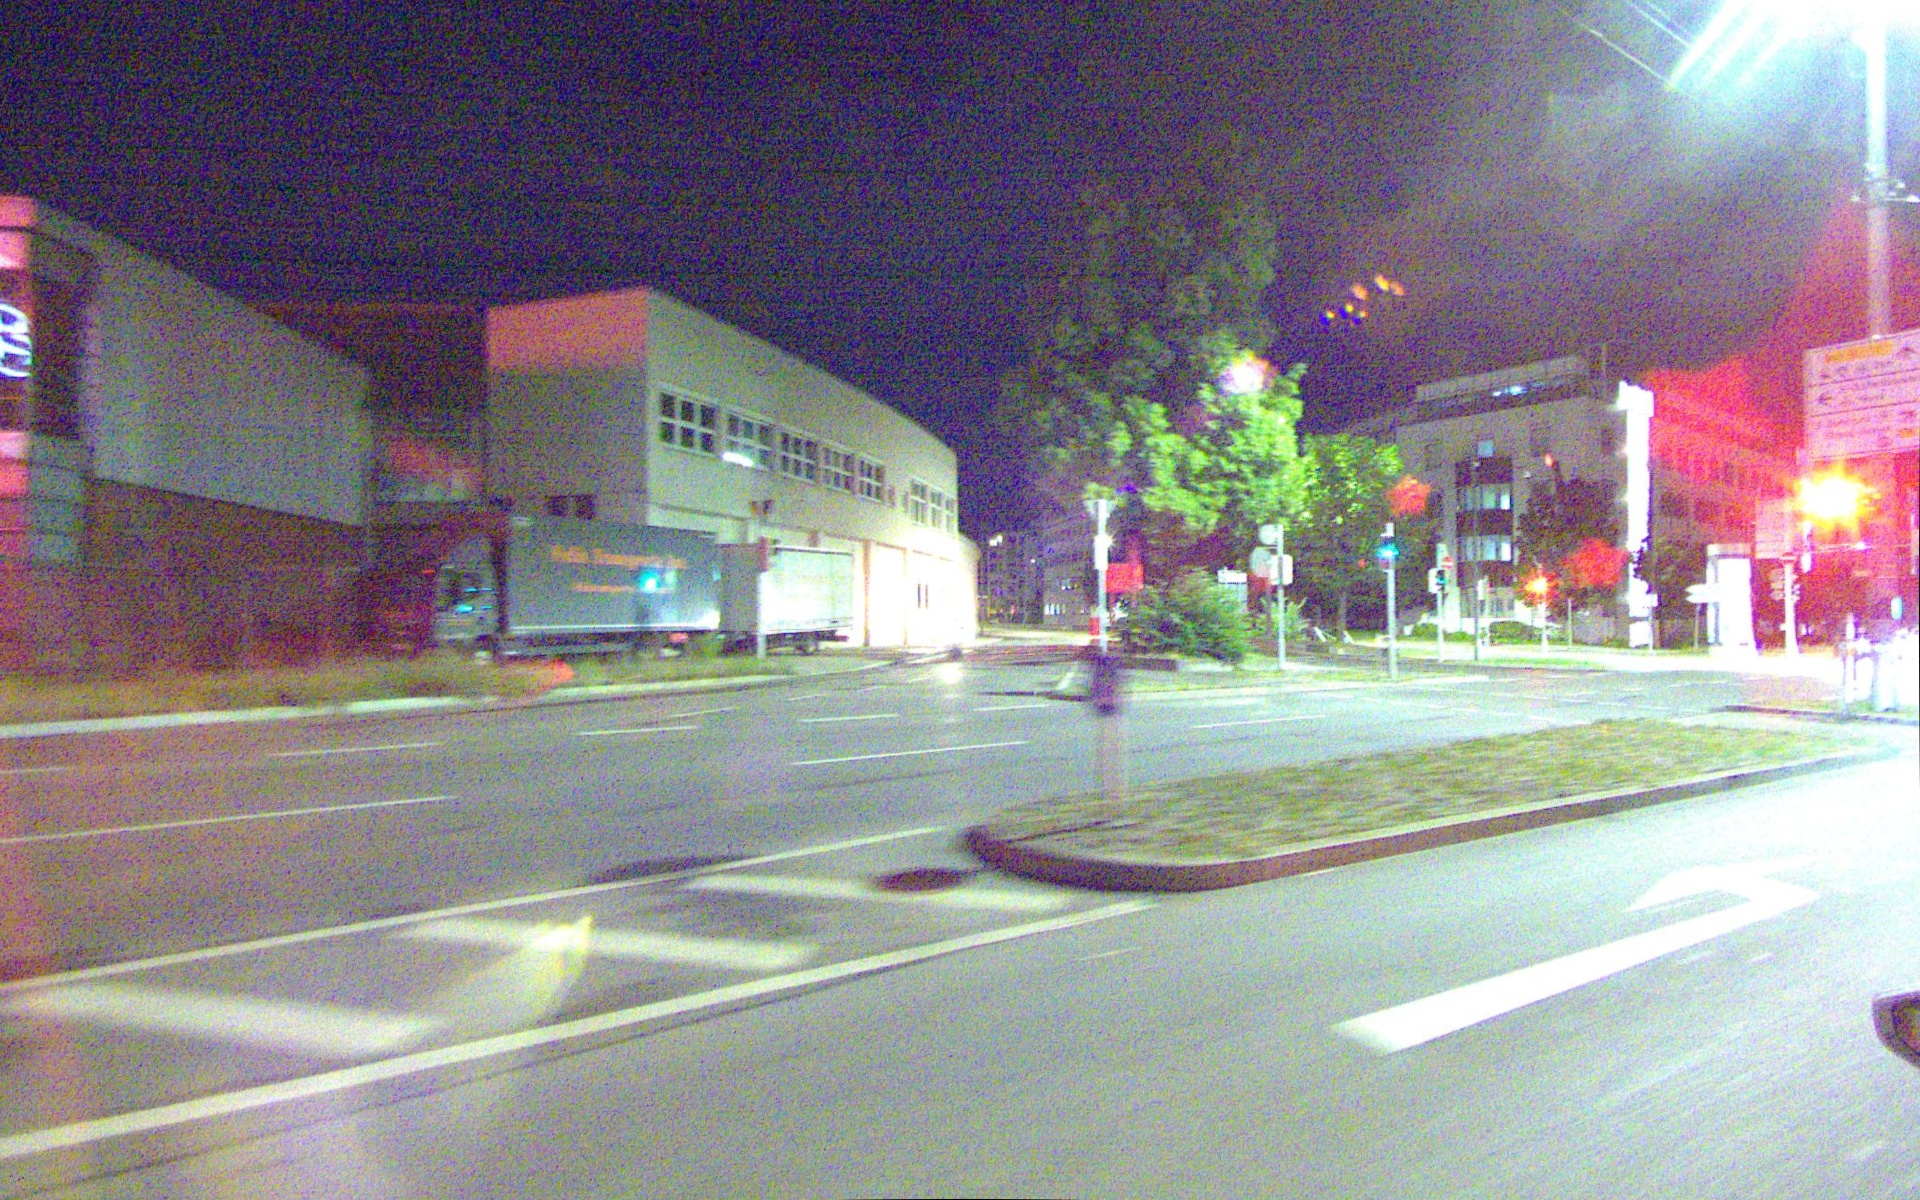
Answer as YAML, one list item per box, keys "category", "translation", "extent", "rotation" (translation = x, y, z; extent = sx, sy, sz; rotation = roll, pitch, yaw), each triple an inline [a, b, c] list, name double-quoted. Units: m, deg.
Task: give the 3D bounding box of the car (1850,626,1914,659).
- category: "car"
  translation: [44.708, 2.054, 48.695]
  extent: [3.963, 1.535, 1.604]
  rotation: [2, -2, -37]

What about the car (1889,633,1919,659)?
- category: "car"
  translation: [50.786, 2.439, 53.198]
  extent: [3.515, 1.339, 1.745]
  rotation: [2, -2, -38]

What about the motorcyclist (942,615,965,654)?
- category: "motorcyclist"
  translation: [-0.214, 1.168, 34.058]
  extent: [0.635, 1.278, 0.579]
  rotation: [1, -1, 11]

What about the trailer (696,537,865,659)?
- category: "trailer"
  translation: [-6.095, 0.027, 35.286]
  extent: [2.572, 3.841, 6.510]
  rotation: [1, -1, 24]

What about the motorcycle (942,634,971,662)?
- category: "motorcycle"
  translation: [-0.114, 1.625, 34.133]
  extent: [0.568, 0.907, 2.157]
  rotation: [-2, -2, 10]

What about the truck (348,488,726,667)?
- category: "truck"
  translation: [-10.440, -0.353, 26.433]
  extent: [2.893, 3.846, 9.548]
  rotation: [1, -1, 26]
